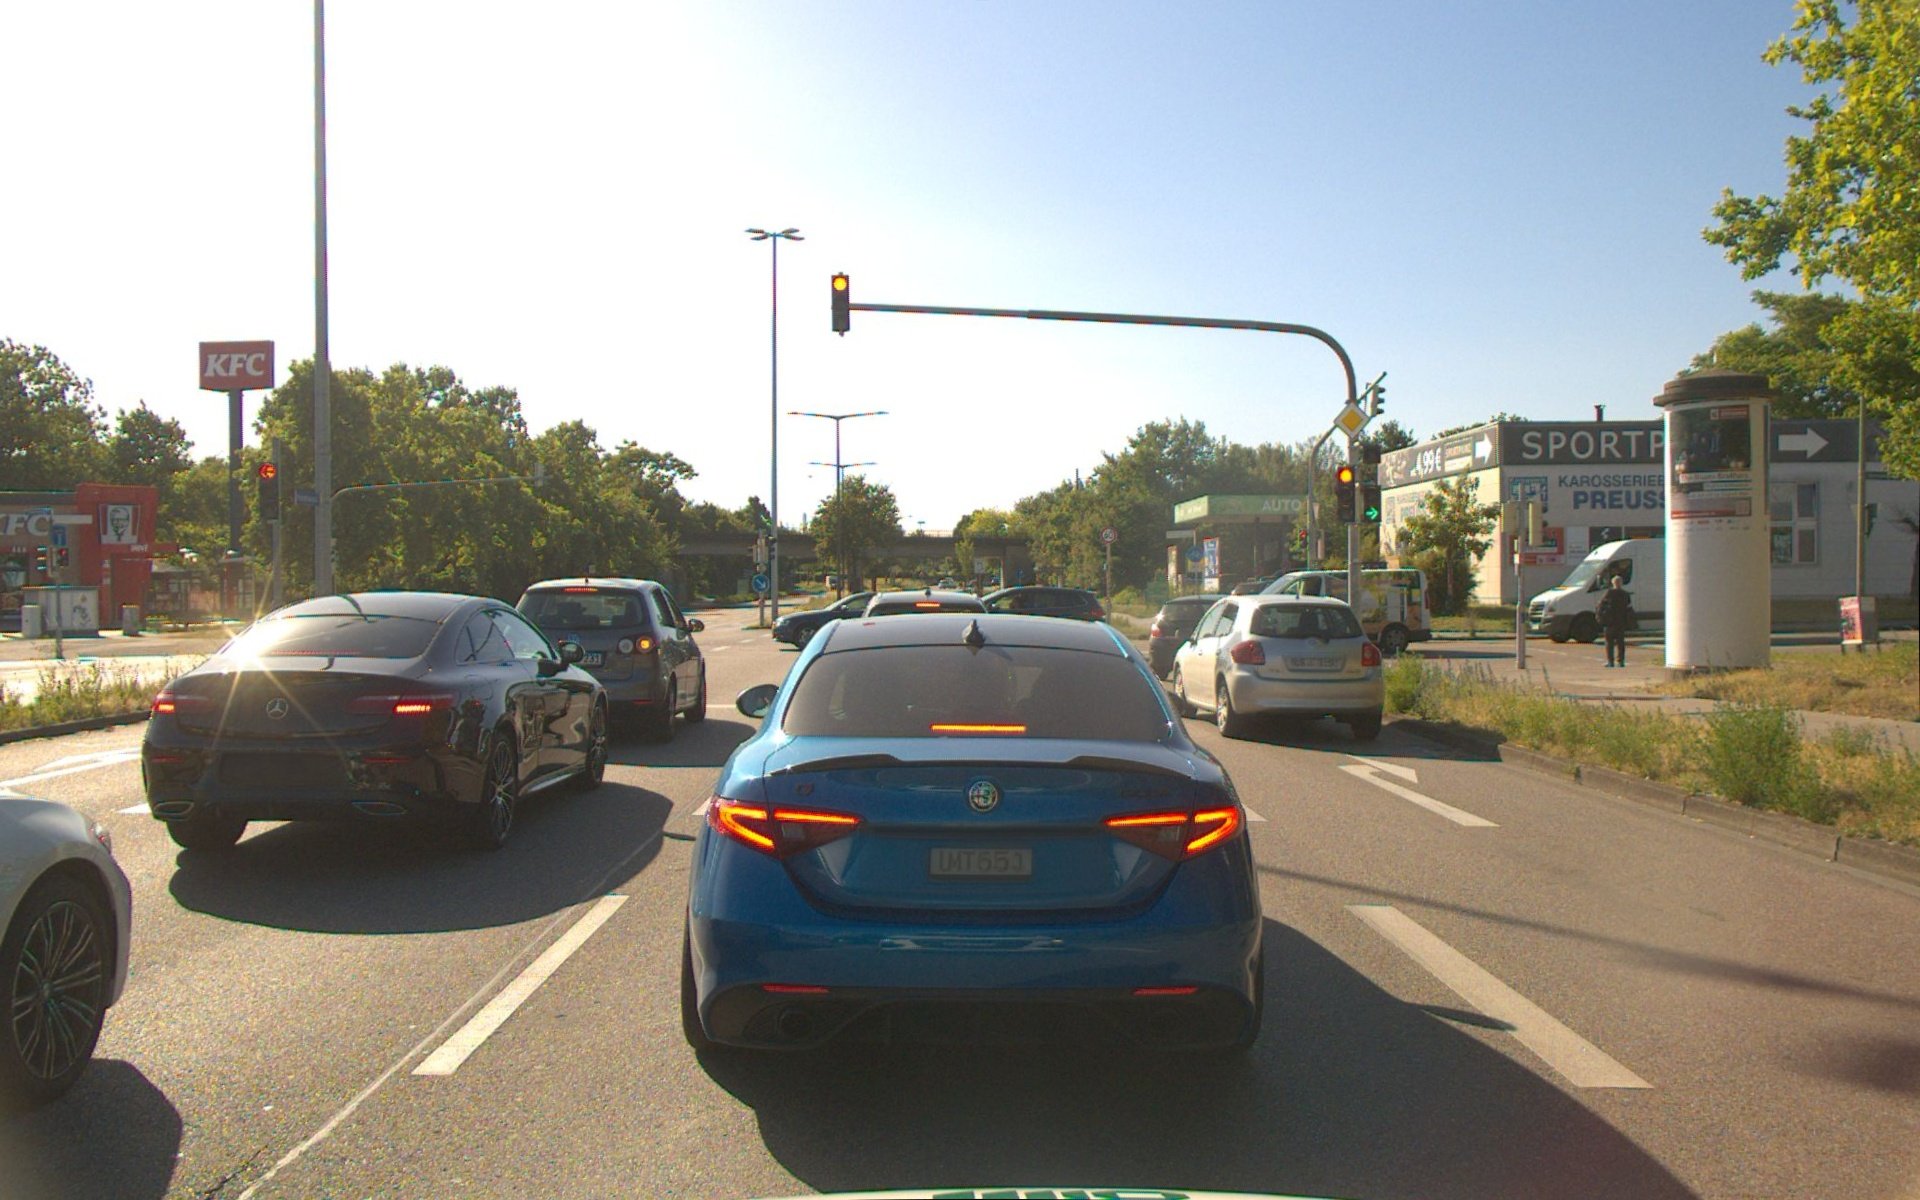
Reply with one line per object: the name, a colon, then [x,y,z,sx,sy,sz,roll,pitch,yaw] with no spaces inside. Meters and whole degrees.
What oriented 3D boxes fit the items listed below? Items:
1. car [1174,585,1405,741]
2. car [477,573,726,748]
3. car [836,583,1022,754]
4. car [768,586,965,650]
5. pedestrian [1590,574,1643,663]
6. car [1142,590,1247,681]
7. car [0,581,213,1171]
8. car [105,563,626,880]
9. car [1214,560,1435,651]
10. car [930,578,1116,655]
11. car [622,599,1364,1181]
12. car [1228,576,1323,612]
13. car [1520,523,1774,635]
car: [3.637,0.629,18.987,1.747,1.564,4.107,1,0,-1]
car: [-3.589,0.564,17.331,1.776,1.578,4.351,1,0,-2]
car: [-0.255,0.632,16.891,1.669,1.523,3.719,1,0,1]
car: [-2.371,0.456,41.596,4.736,1.493,1.753,1,0,-13]
pedestrian: [12.668,0.361,31.936,0.800,1.698,0.514,1,-1,-1]
car: [4.193,0.590,29.520,1.697,1.467,4.375,1,0,9]
car: [-3.341,0.711,3.133,1.775,1.512,4.596,0,0,0]
car: [-3.436,0.600,10.572,1.775,1.578,4.542,1,0,-1]
car: [8.678,0.131,39.603,4.854,2.071,1.880,-1,0,-2]
car: [1.430,0.374,38.610,4.219,1.678,1.637,1,0,-2]
car: [0.113,0.748,6.084,1.870,1.447,3.719,1,0,1]
car: [14.257,-0.264,74.888,3.905,1.579,2.000,1,0,0]
car: [17.717,-0.535,42.840,5.715,2.719,2.000,-1,-1,0]
